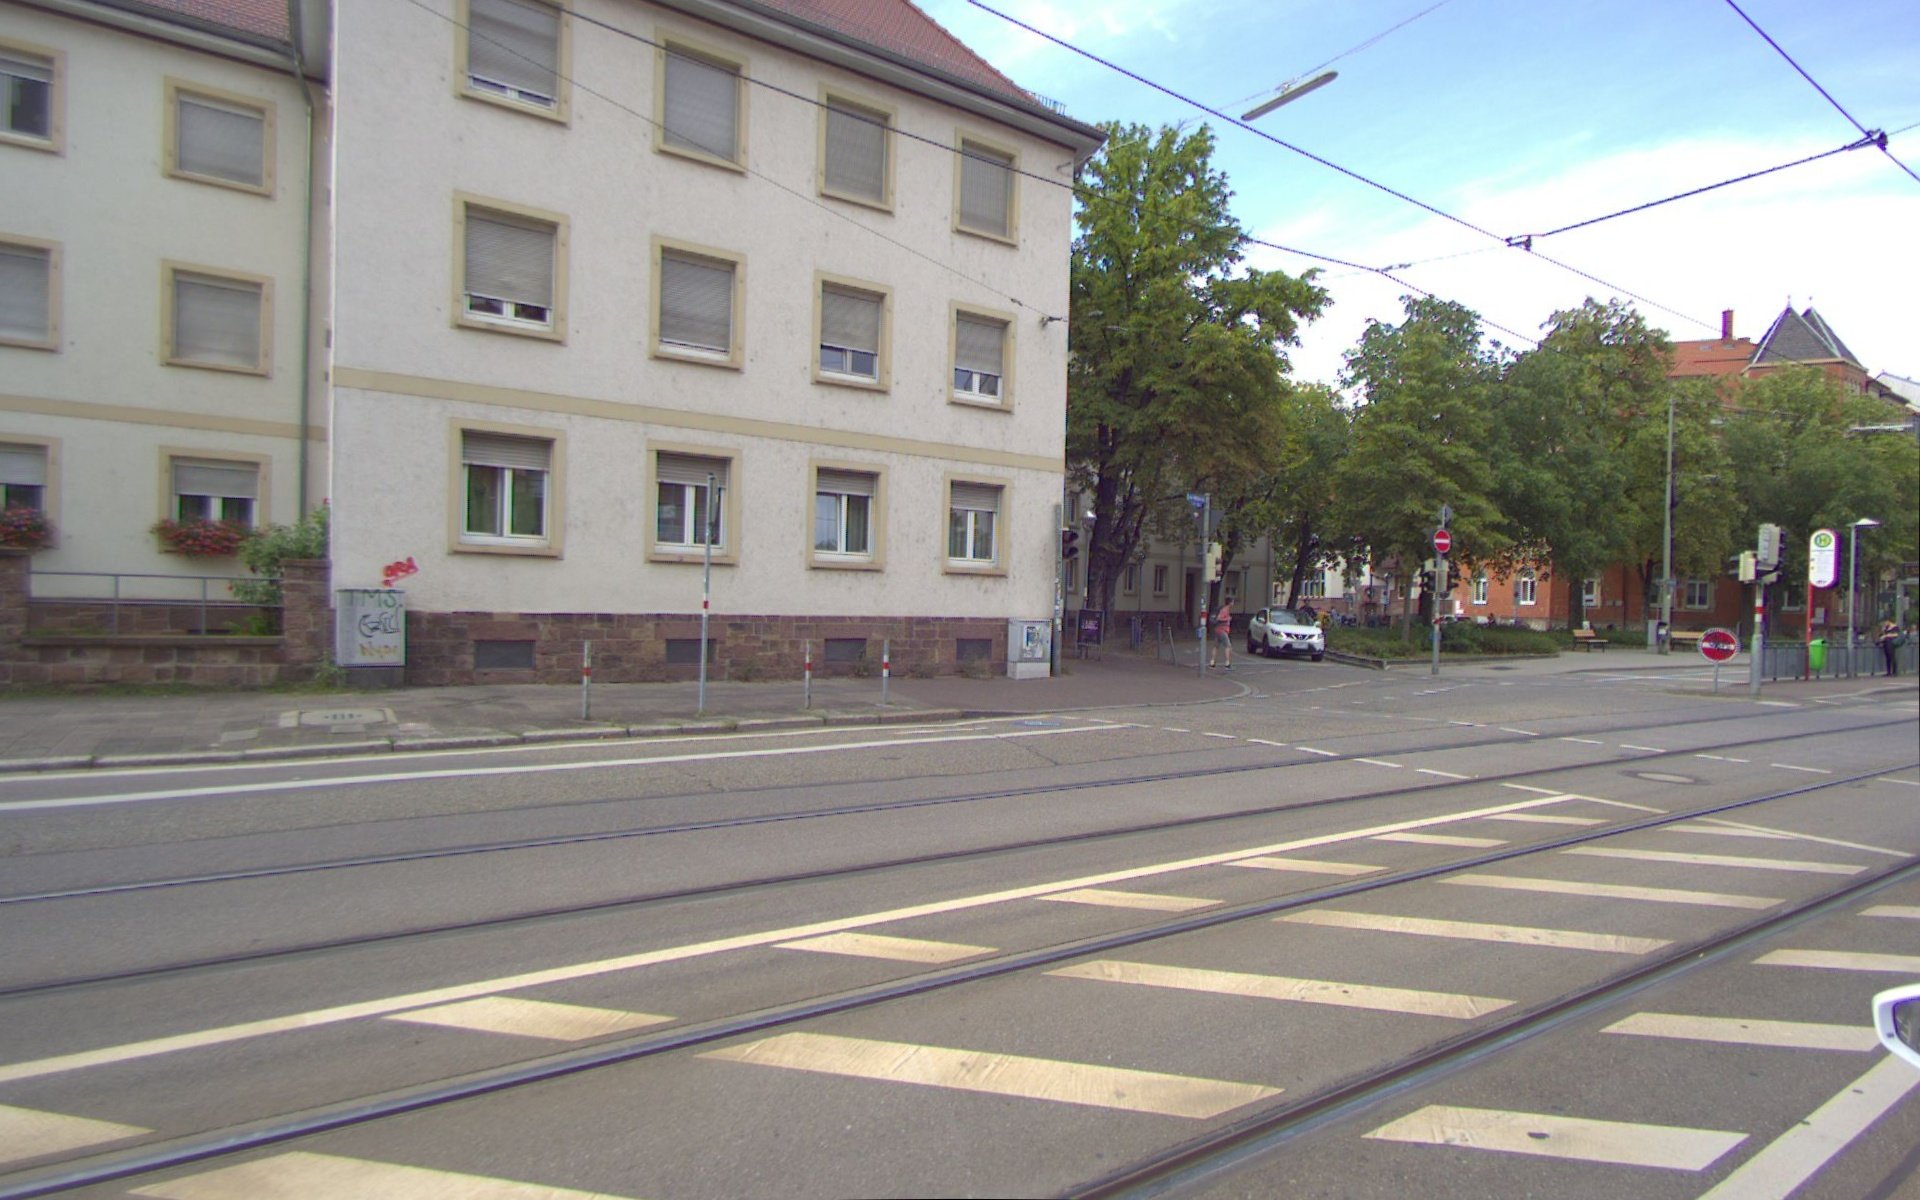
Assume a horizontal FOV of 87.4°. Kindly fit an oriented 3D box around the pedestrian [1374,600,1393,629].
[{"bbox_3d":[25.753,0.876,61.099,0.720,1.777,0.751,1,0,-15],"label":"pedestrian"}]

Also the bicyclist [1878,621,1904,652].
[{"bbox_3d":[41.581,1.622,44.841,0.827,1.357,0.657,1,0,-33],"label":"bicyclist"}]

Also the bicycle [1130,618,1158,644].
[{"bbox_3d":[7.353,1.227,40.129,0.486,1.022,1.836,1,0,31],"label":"bicycle"}]

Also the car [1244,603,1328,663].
[{"bbox_3d":[10.662,1.105,33.124,1.804,1.743,4.163,2,-2,7],"label":"car"}]

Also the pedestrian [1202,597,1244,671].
[{"bbox_3d":[6.964,0.892,26.619,0.821,1.926,0.730,1,0,-15],"label":"pedestrian"}]

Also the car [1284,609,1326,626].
[{"bbox_3d":[30.336,1.521,88.326,1.783,1.414,3.993,1,0,-10],"label":"car"}]

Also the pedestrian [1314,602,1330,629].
[{"bbox_3d":[24.041,0.999,66.730,0.671,1.777,0.731,1,0,-12],"label":"pedestrian"}]

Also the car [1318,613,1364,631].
[{"bbox_3d":[31.425,1.797,82.905,1.783,1.414,3.993,1,0,-10],"label":"car"}]

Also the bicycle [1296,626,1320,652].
[{"bbox_3d":[13.085,1.460,37.762,0.597,0.949,1.574,1,0,29],"label":"bicycle"}]

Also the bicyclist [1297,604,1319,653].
[{"bbox_3d":[13.098,1.059,37.774,0.601,1.799,0.909,1,0,29],"label":"bicyclist"}]

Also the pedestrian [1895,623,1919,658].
[{"bbox_3d":[47.196,2.015,49.988,0.726,1.725,0.826,1,0,-38],"label":"pedestrian"}]

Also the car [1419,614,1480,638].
[{"bbox_3d":[34.050,1.801,69.961,1.783,1.497,3.993,1,0,-10],"label":"car"}]

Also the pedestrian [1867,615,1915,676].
[{"bbox_3d":[25.875,1.248,27.922,0.836,1.642,0.845,1,0,-38],"label":"pedestrian"}]
